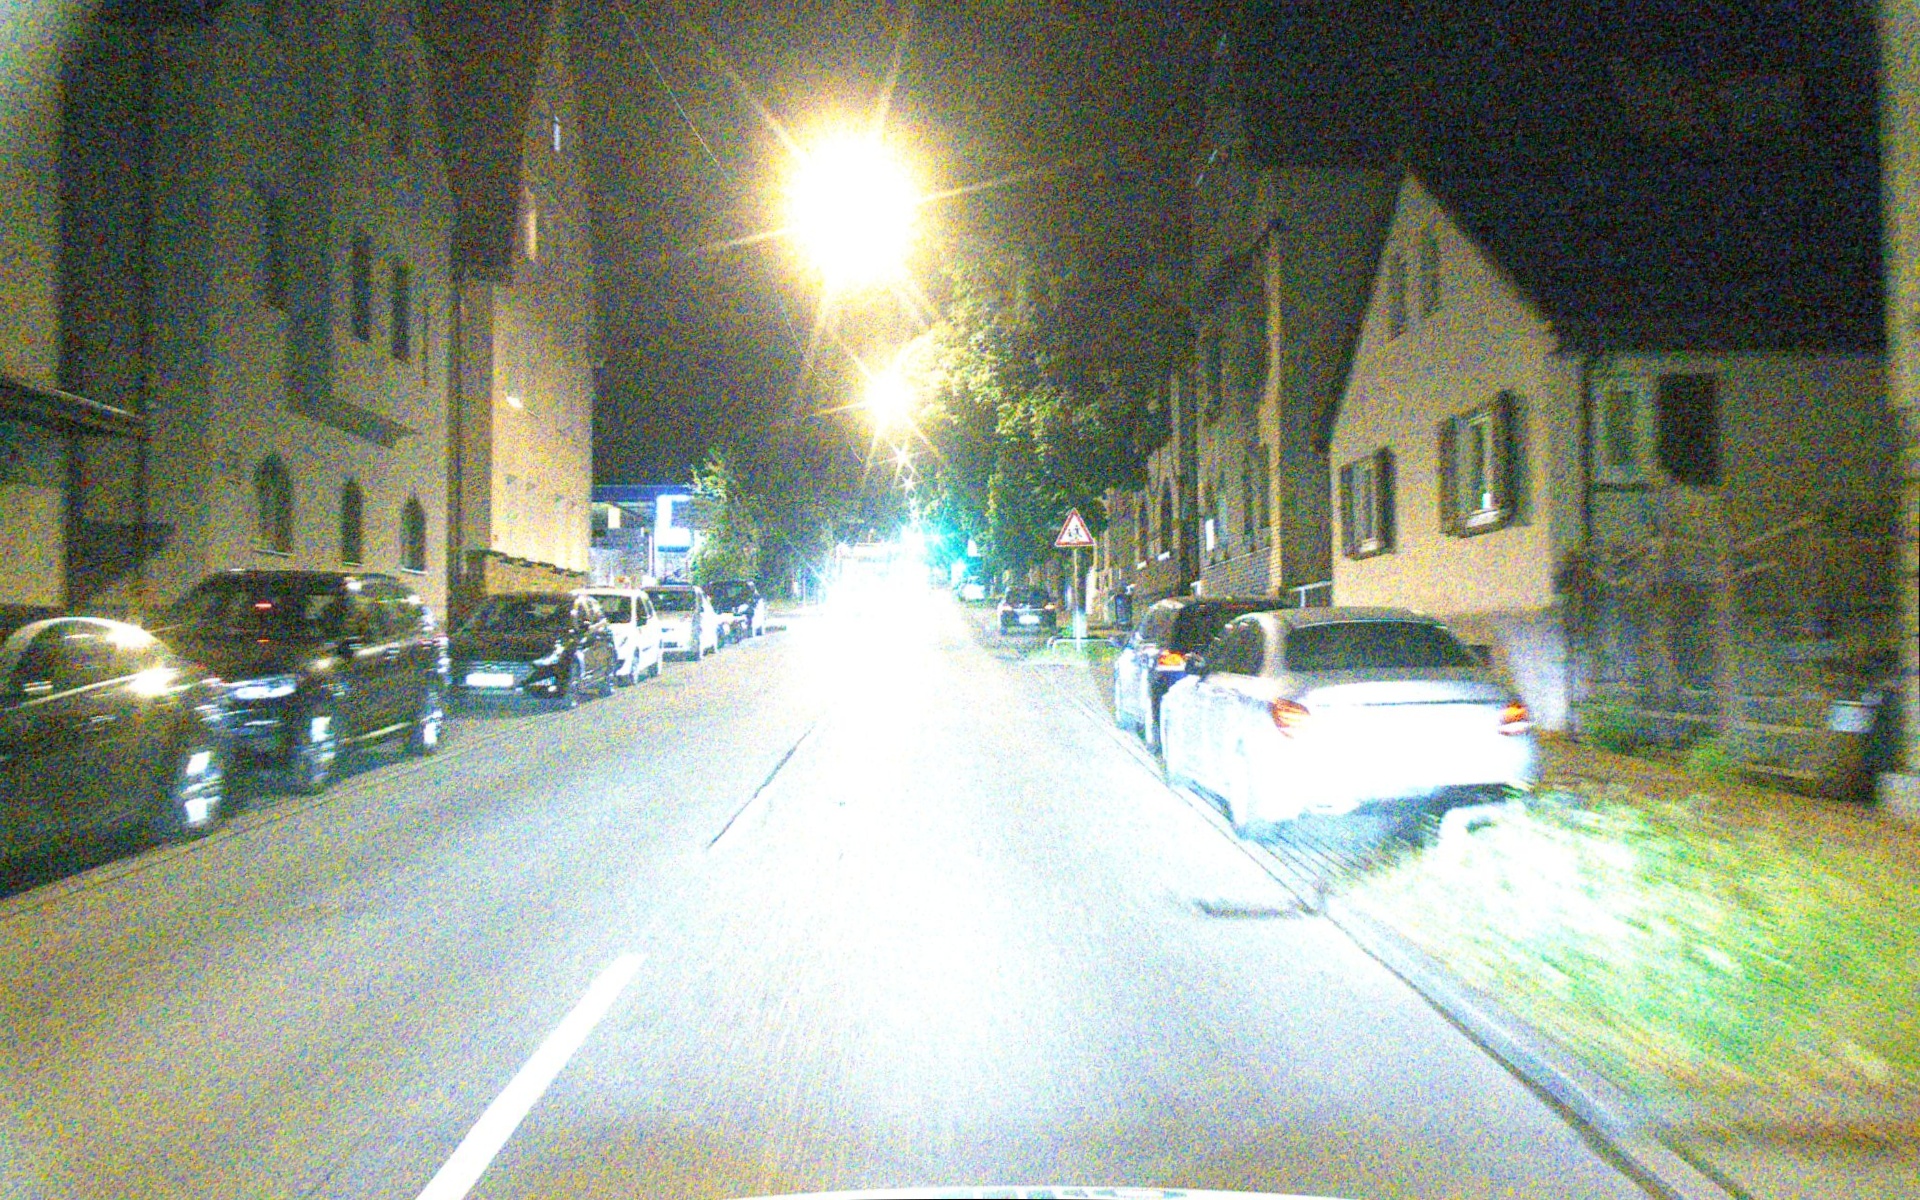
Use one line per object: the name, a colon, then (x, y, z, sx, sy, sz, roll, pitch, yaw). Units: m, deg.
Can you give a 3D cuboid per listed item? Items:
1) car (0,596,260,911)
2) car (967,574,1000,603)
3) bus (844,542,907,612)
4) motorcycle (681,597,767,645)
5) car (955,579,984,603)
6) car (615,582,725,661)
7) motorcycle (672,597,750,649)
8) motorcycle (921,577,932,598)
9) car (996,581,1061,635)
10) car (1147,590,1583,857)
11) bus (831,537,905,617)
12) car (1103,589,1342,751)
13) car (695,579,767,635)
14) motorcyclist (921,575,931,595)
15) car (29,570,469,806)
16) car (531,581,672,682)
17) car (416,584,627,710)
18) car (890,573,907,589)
car: (-5.530, 0.740, 8.833, 1.798, 1.472, 4.543, 0, 1, -2)
car: (1.369, -0.711, 98.934, 1.775, 1.621, 4.273, -1, 1, -1)
bus: (-4.104, -1.145, 82.073, 2.780, 3.233, 7.660, 1, 1, -1)
motorcycle: (-5.884, 0.520, 41.136, 2.162, 1.150, 0.714, 0, 1, 32)
car: (0.637, -0.644, 112.451, 1.831, 1.553, 4.149, -1, 1, -1)
car: (-6.043, 0.397, 34.871, 1.670, 1.517, 4.226, -1, 1, -2)
motorcycle: (-5.897, 0.525, 39.117, 0.710, 1.167, 2.174, -1, 1, -43)
motorcycle: (-2.905, -1.090, 142.565, 0.912, 1.782, 2.624, 1, 0, -1)
car: (2.038, 0.214, 50.307, 1.727, 1.501, 4.080, -2, 1, -1)
car: (2.606, 0.719, 11.876, 1.808, 1.442, 4.643, -3, 0, -2)
bus: (-3.942, -1.010, 72.978, 2.780, 3.233, 10.497, 1, 1, -1)
car: (2.593, 0.637, 17.259, 1.735, 1.473, 4.018, -1, 0, -2)
car: (-6.387, 0.189, 46.384, 1.605, 1.524, 2.765, 0, 0, 0)
motorcyclist: (-2.905, -1.290, 142.563, 0.831, 1.782, 0.805, 1, -1, -1)
car: (-5.711, 0.603, 13.998, 1.798, 1.647, 4.544, 1, 0, -1)
car: (-5.795, 0.493, 27.138, 1.589, 1.518, 3.779, 1, 0, -2)
car: (-5.785, 0.584, 22.344, 1.826, 1.518, 4.278, 1, 0, -2)
car: (-7.038, -2.159, 190.283, 1.905, 1.747, 3.999, 1, 0, -1)
